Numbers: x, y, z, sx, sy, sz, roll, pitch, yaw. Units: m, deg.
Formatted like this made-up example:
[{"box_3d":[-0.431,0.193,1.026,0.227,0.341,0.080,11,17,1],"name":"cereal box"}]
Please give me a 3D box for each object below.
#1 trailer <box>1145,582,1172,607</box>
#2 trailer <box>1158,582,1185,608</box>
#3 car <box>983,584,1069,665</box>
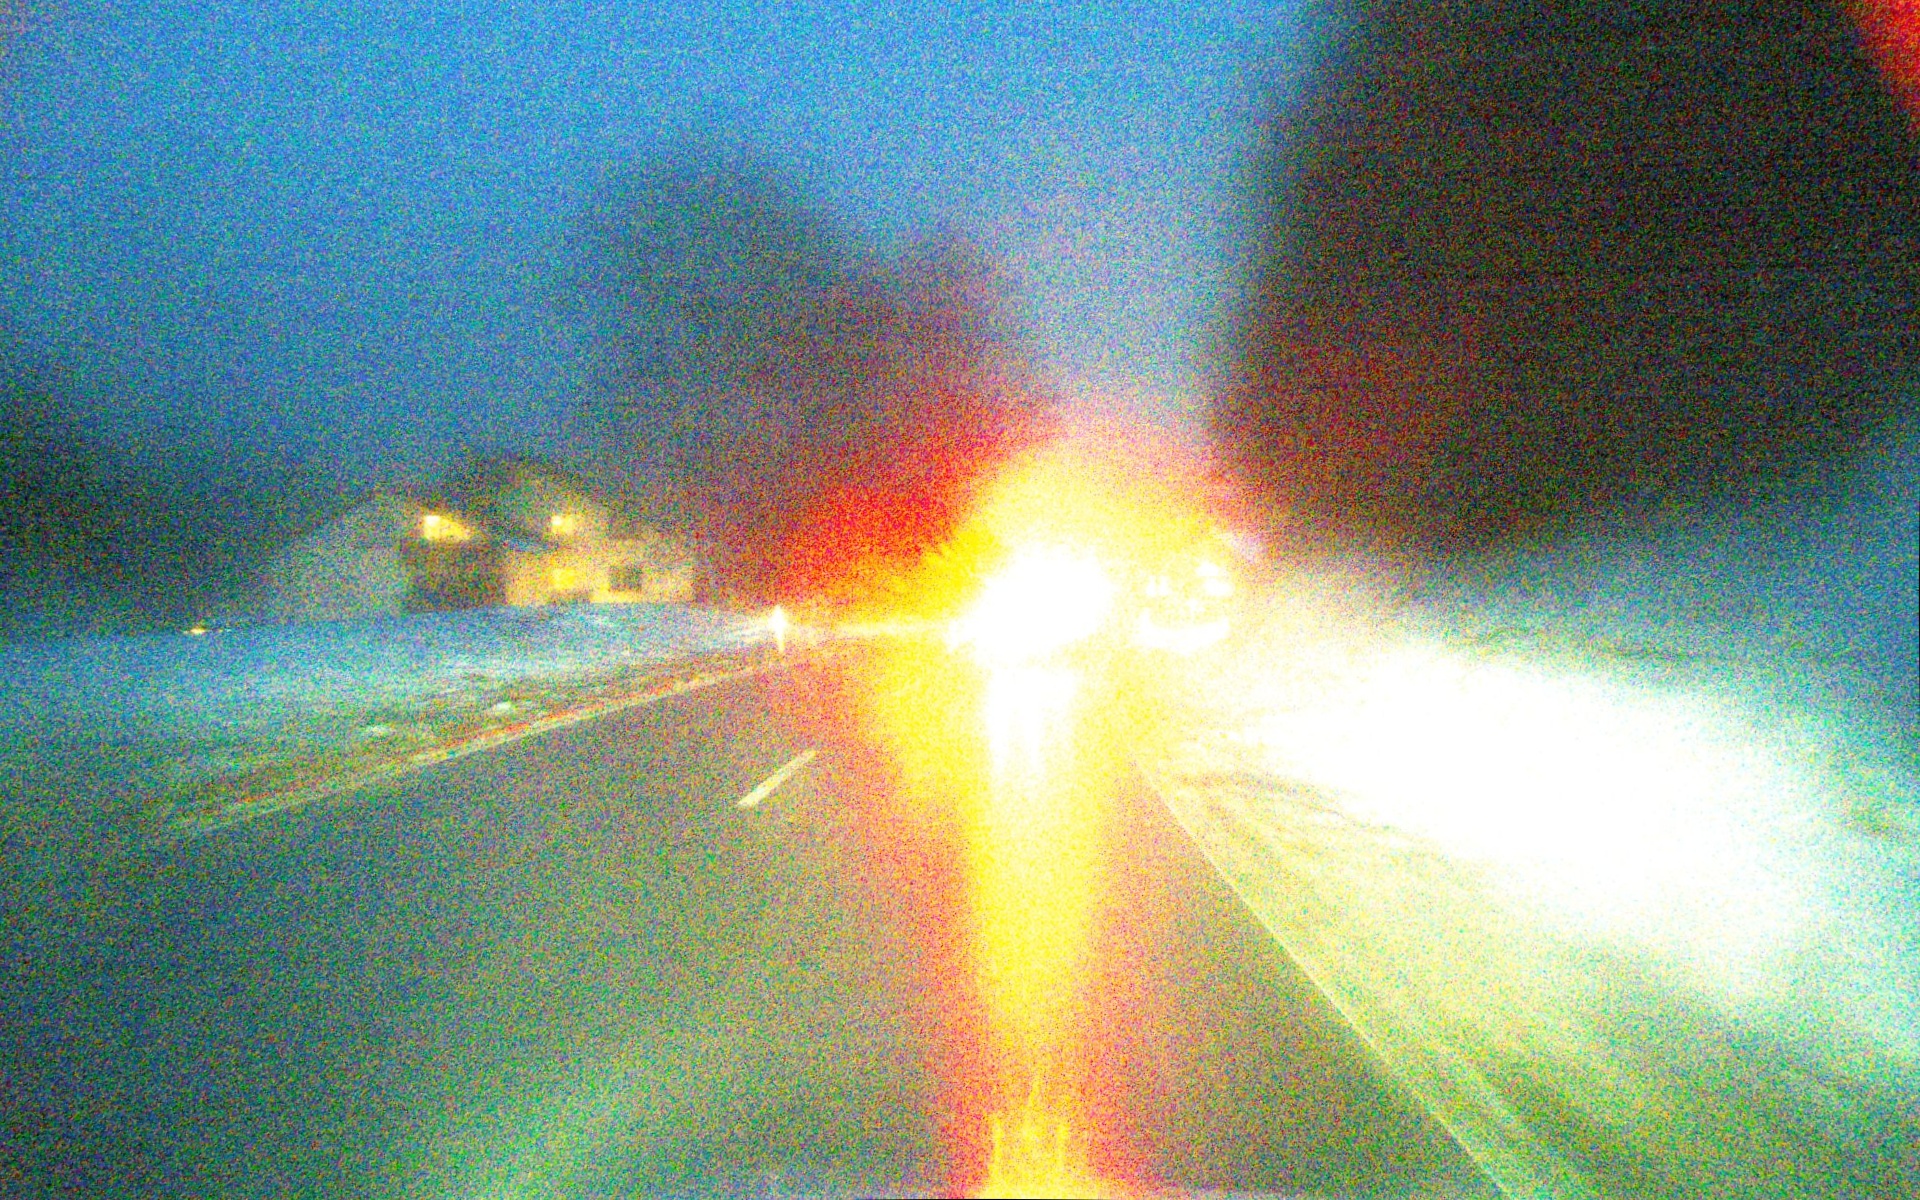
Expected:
[{"box_3d":[19.297,-0.531,161.261,1.598,2.406,4.647,1,0,-6],"name":"trailer"},{"box_3d":[19.969,-0.500,156.349,1.574,2.393,4.427,1,0,-4],"name":"trailer"},{"box_3d":[1.467,0.502,35.984,1.764,1.657,3.617,-1,0,3],"name":"car"}]
